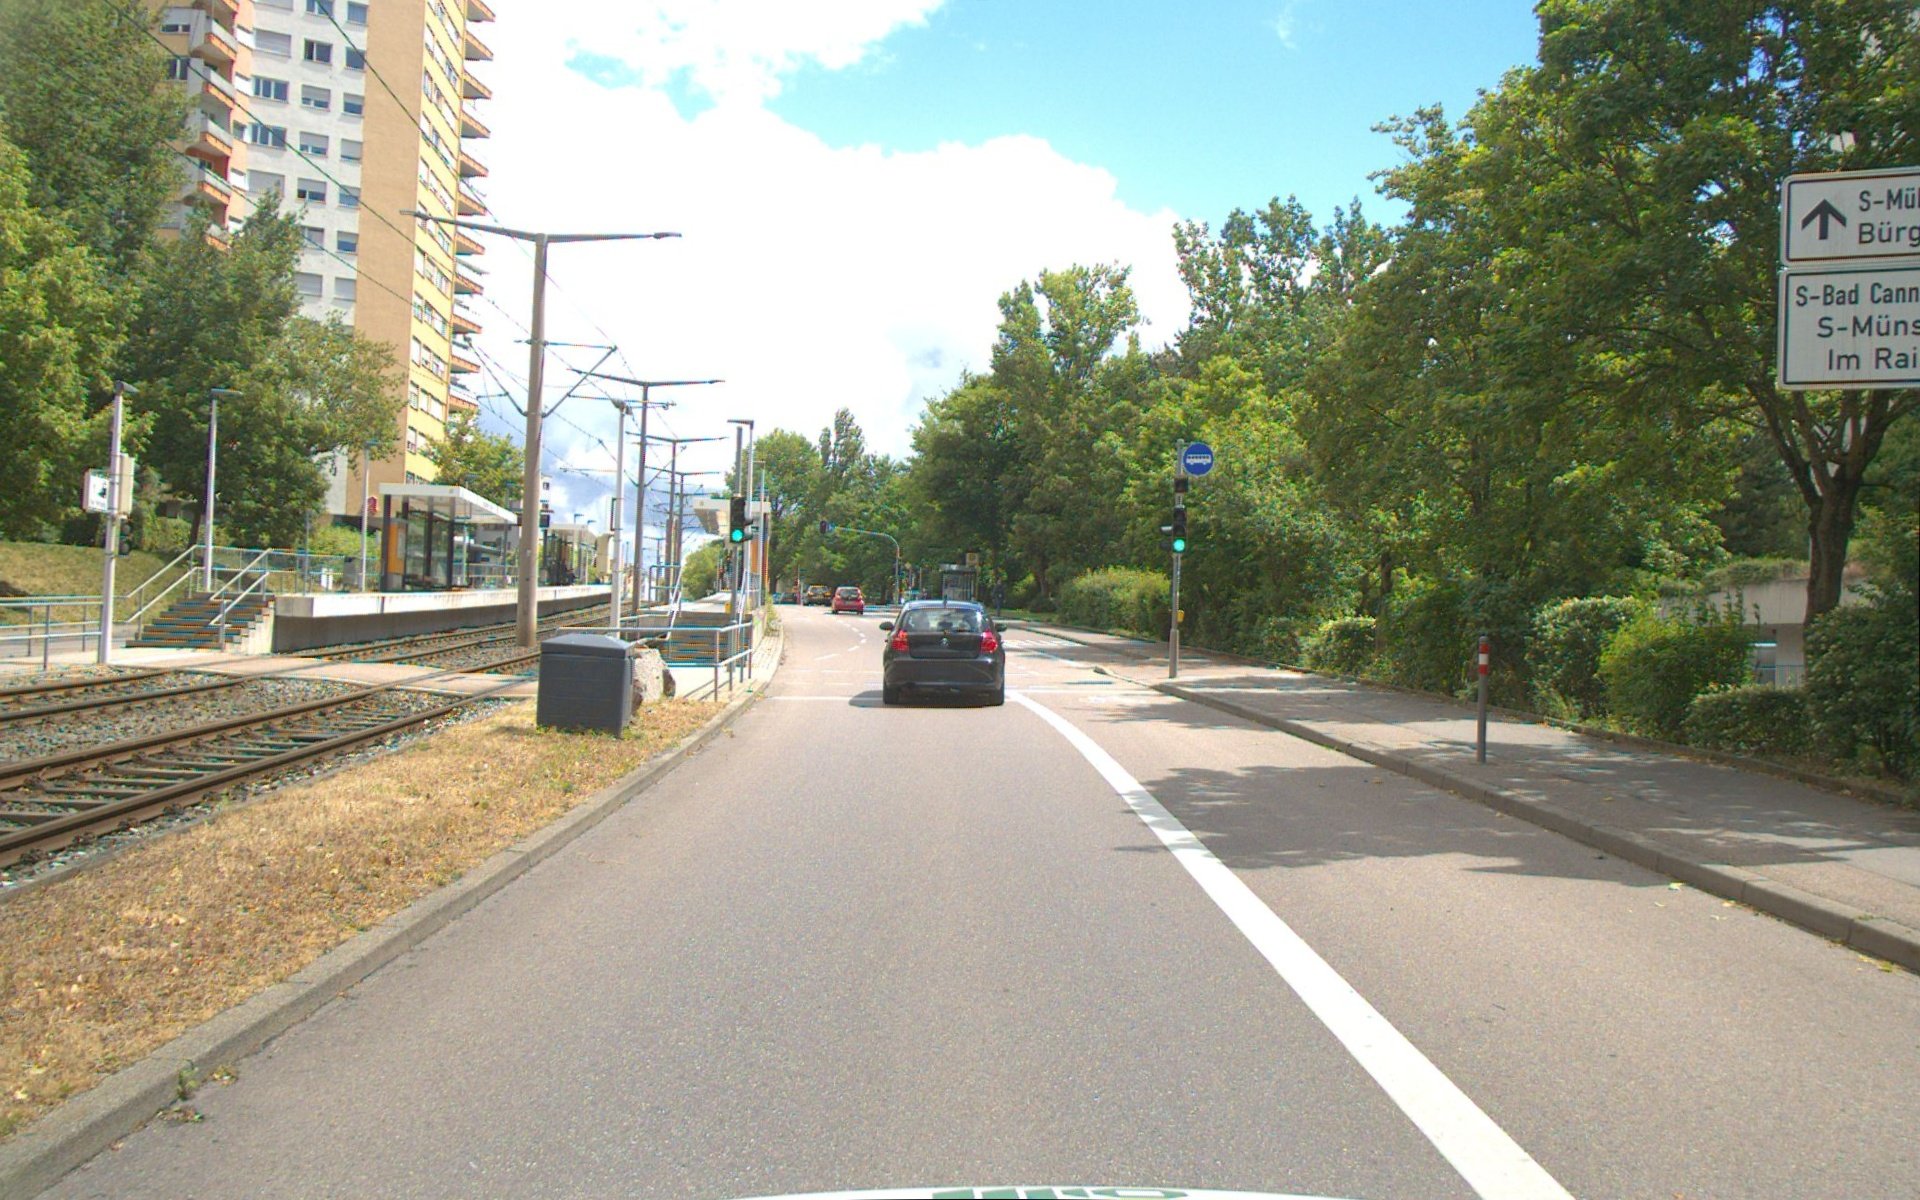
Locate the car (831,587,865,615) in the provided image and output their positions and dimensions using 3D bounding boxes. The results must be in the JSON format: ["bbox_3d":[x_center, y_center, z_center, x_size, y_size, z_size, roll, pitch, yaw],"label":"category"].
[{"bbox_3d":[-6.181,0.058,90.953,1.746,1.485,3.917,1,0,-5],"label":"car"}]

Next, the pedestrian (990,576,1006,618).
[{"bbox_3d":[1.851,-0.157,81.386,0.725,2.049,0.681,1,0,-1],"label":"pedestrian"}]

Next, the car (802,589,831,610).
[{"bbox_3d":[-10.330,-0.045,118.950,1.873,1.485,3.996,1,0,-7],"label":"car"}]

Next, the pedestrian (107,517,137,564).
[{"bbox_3d":[-28.160,-1.991,55.611,0.620,1.561,0.635,1,0,16],"label":"pedestrian"}]

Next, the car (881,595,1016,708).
[{"bbox_3d":[-0.249,0.675,23.956,1.746,1.485,3.918,0,0,-4],"label":"car"}]
